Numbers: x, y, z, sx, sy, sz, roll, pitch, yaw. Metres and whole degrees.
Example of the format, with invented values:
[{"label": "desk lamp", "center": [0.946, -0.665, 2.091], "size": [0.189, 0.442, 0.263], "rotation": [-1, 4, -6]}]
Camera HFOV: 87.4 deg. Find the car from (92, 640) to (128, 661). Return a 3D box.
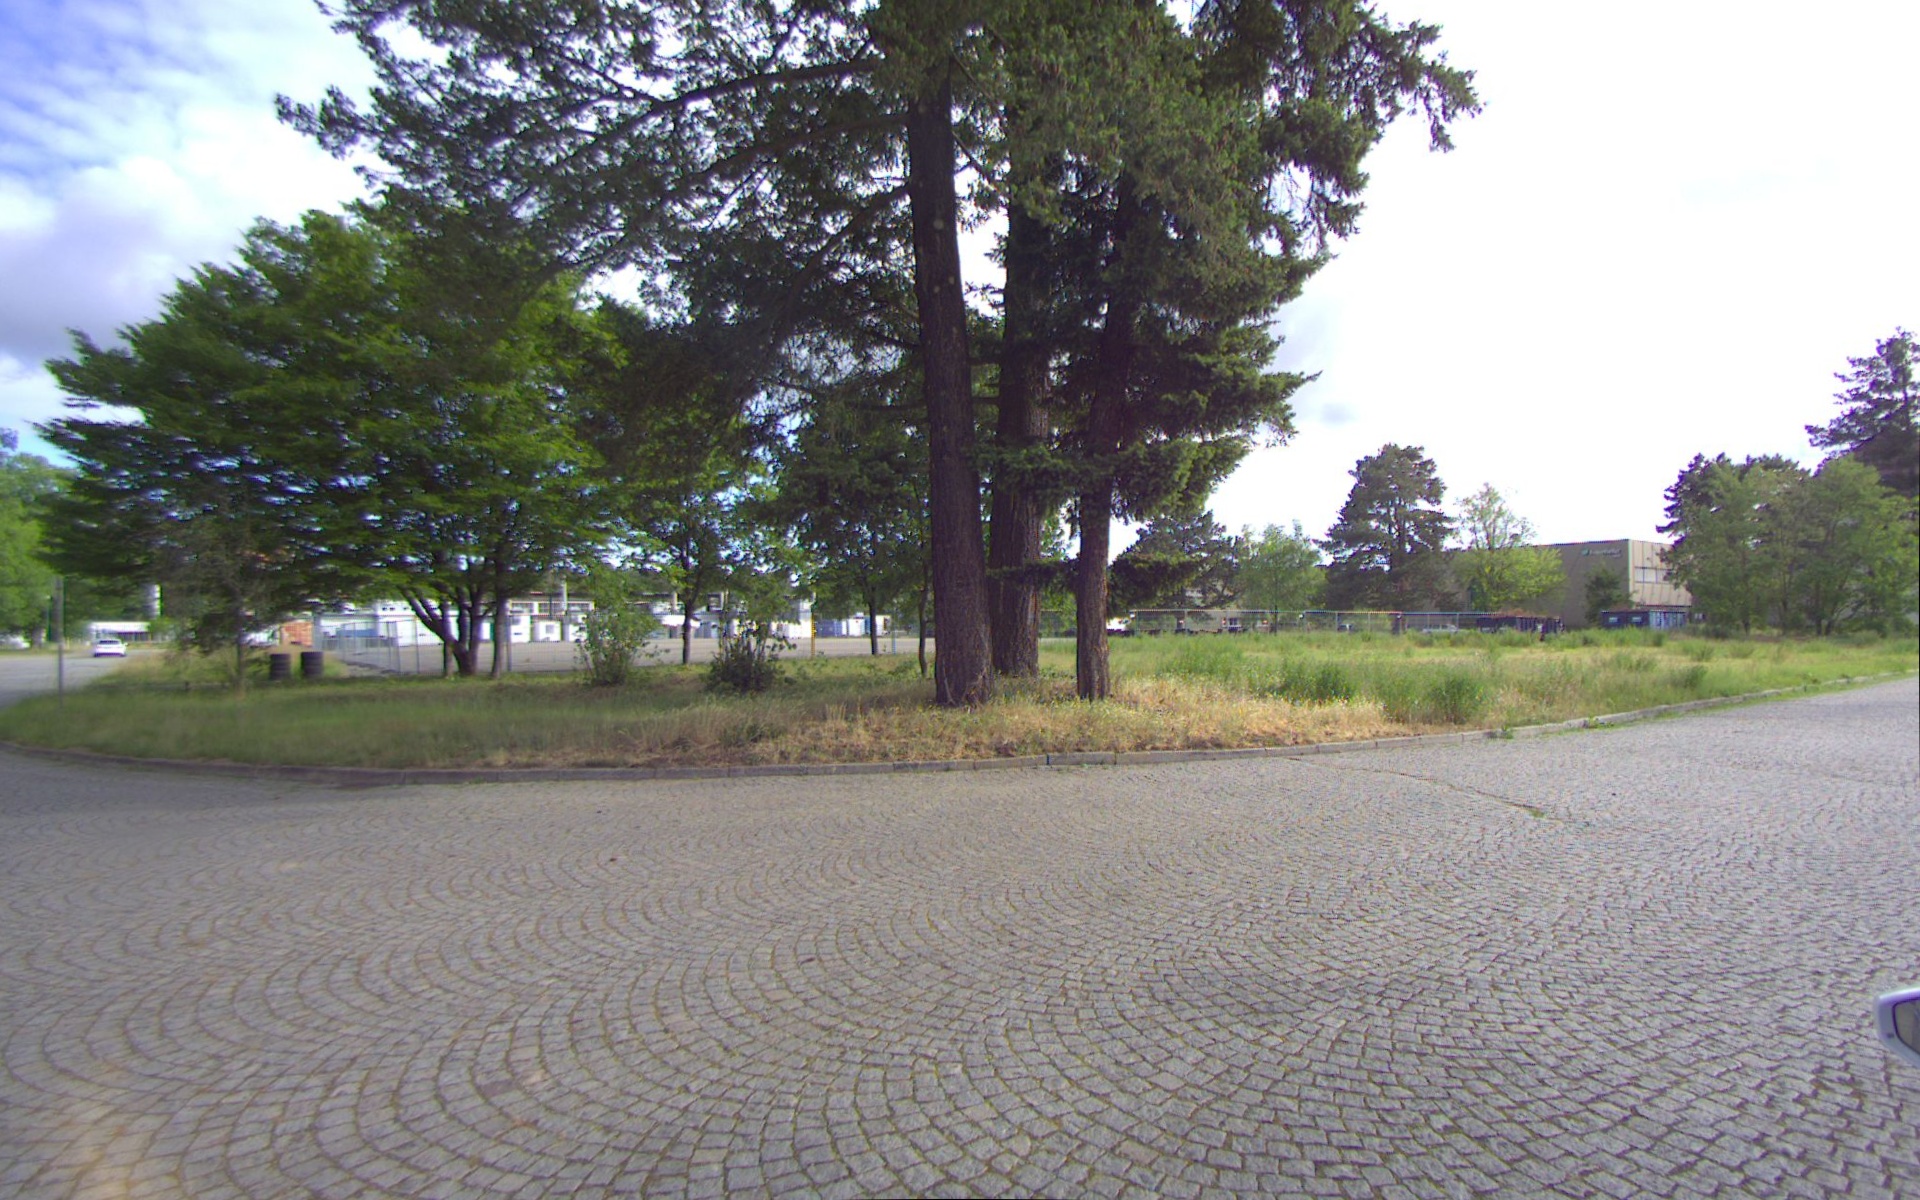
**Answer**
[{"label": "car", "center": [-65.481, 3.890, 77.415], "size": [1.837, 1.456, 4.657], "rotation": [-1, -1, -37]}]
